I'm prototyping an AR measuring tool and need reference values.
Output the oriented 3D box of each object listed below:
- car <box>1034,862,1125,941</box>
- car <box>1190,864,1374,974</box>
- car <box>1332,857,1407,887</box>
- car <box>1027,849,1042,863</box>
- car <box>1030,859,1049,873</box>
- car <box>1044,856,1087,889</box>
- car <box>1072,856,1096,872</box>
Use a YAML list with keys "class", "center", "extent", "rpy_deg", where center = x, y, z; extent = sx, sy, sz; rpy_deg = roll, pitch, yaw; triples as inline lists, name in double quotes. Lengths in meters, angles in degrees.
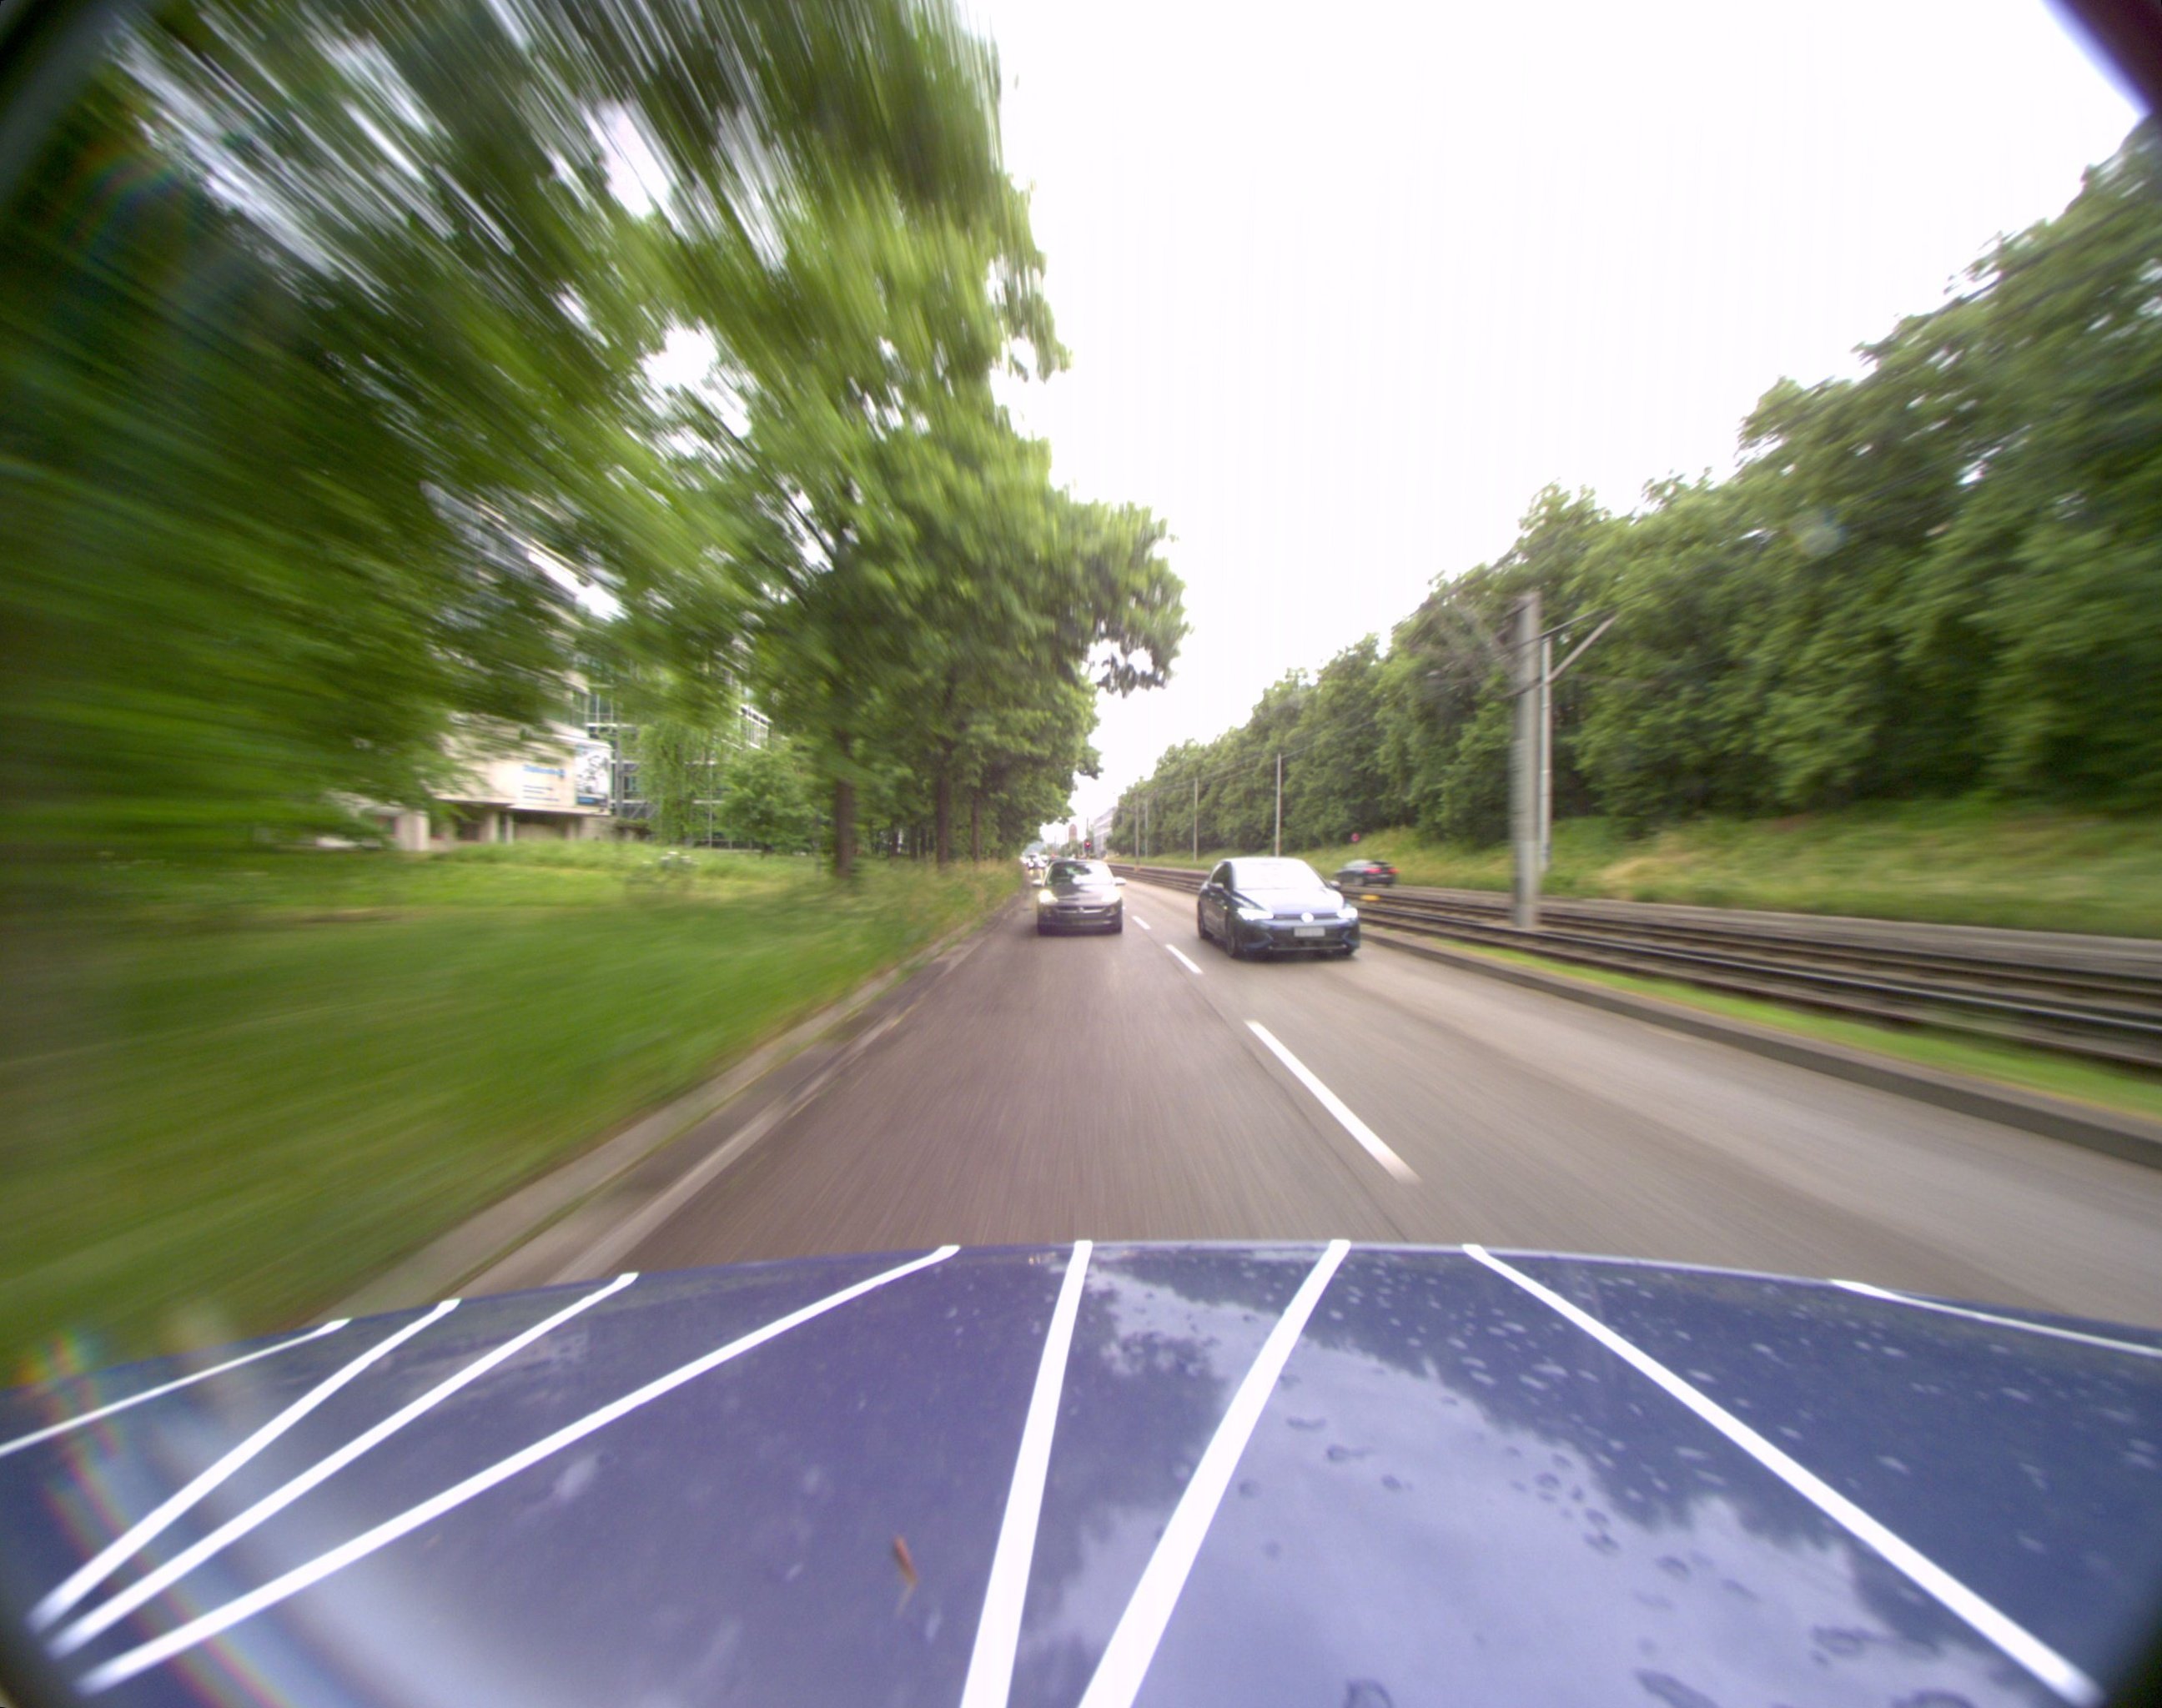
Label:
- class: "car"
  center: [-0.012, 0.920, 16.618]
  extent: [1.710, 1.425, 4.429]
  rpy_deg: [-1, 0, 0]
- class: "car"
  center: [2.979, 0.894, 12.270]
  extent: [1.812, 1.370, 4.347]
  rpy_deg: [-2, 0, 0]
- class: "car"
  center: [15.709, 0.927, 41.649]
  extent: [2.000, 1.423, 4.428]
  rpy_deg: [3, 0, -6]
- class: "car"
  center: [-7.255, 0.313, 118.608]
  extent: [1.961, 1.914, 4.842]
  rpy_deg: [-3, 0, -7]
- class: "car"
  center: [-4.711, 1.341, 85.531]
  extent: [1.961, 1.469, 4.697]
  rpy_deg: [-3, 0, -5]
- class: "car"
  center: [-0.738, 0.868, 37.941]
  extent: [1.960, 1.457, 4.699]
  rpy_deg: [-1, 0, 0]
- class: "car"
  center: [0.256, 1.026, 76.685]
  extent: [1.961, 1.472, 4.697]
  rpy_deg: [-3, 0, -5]
